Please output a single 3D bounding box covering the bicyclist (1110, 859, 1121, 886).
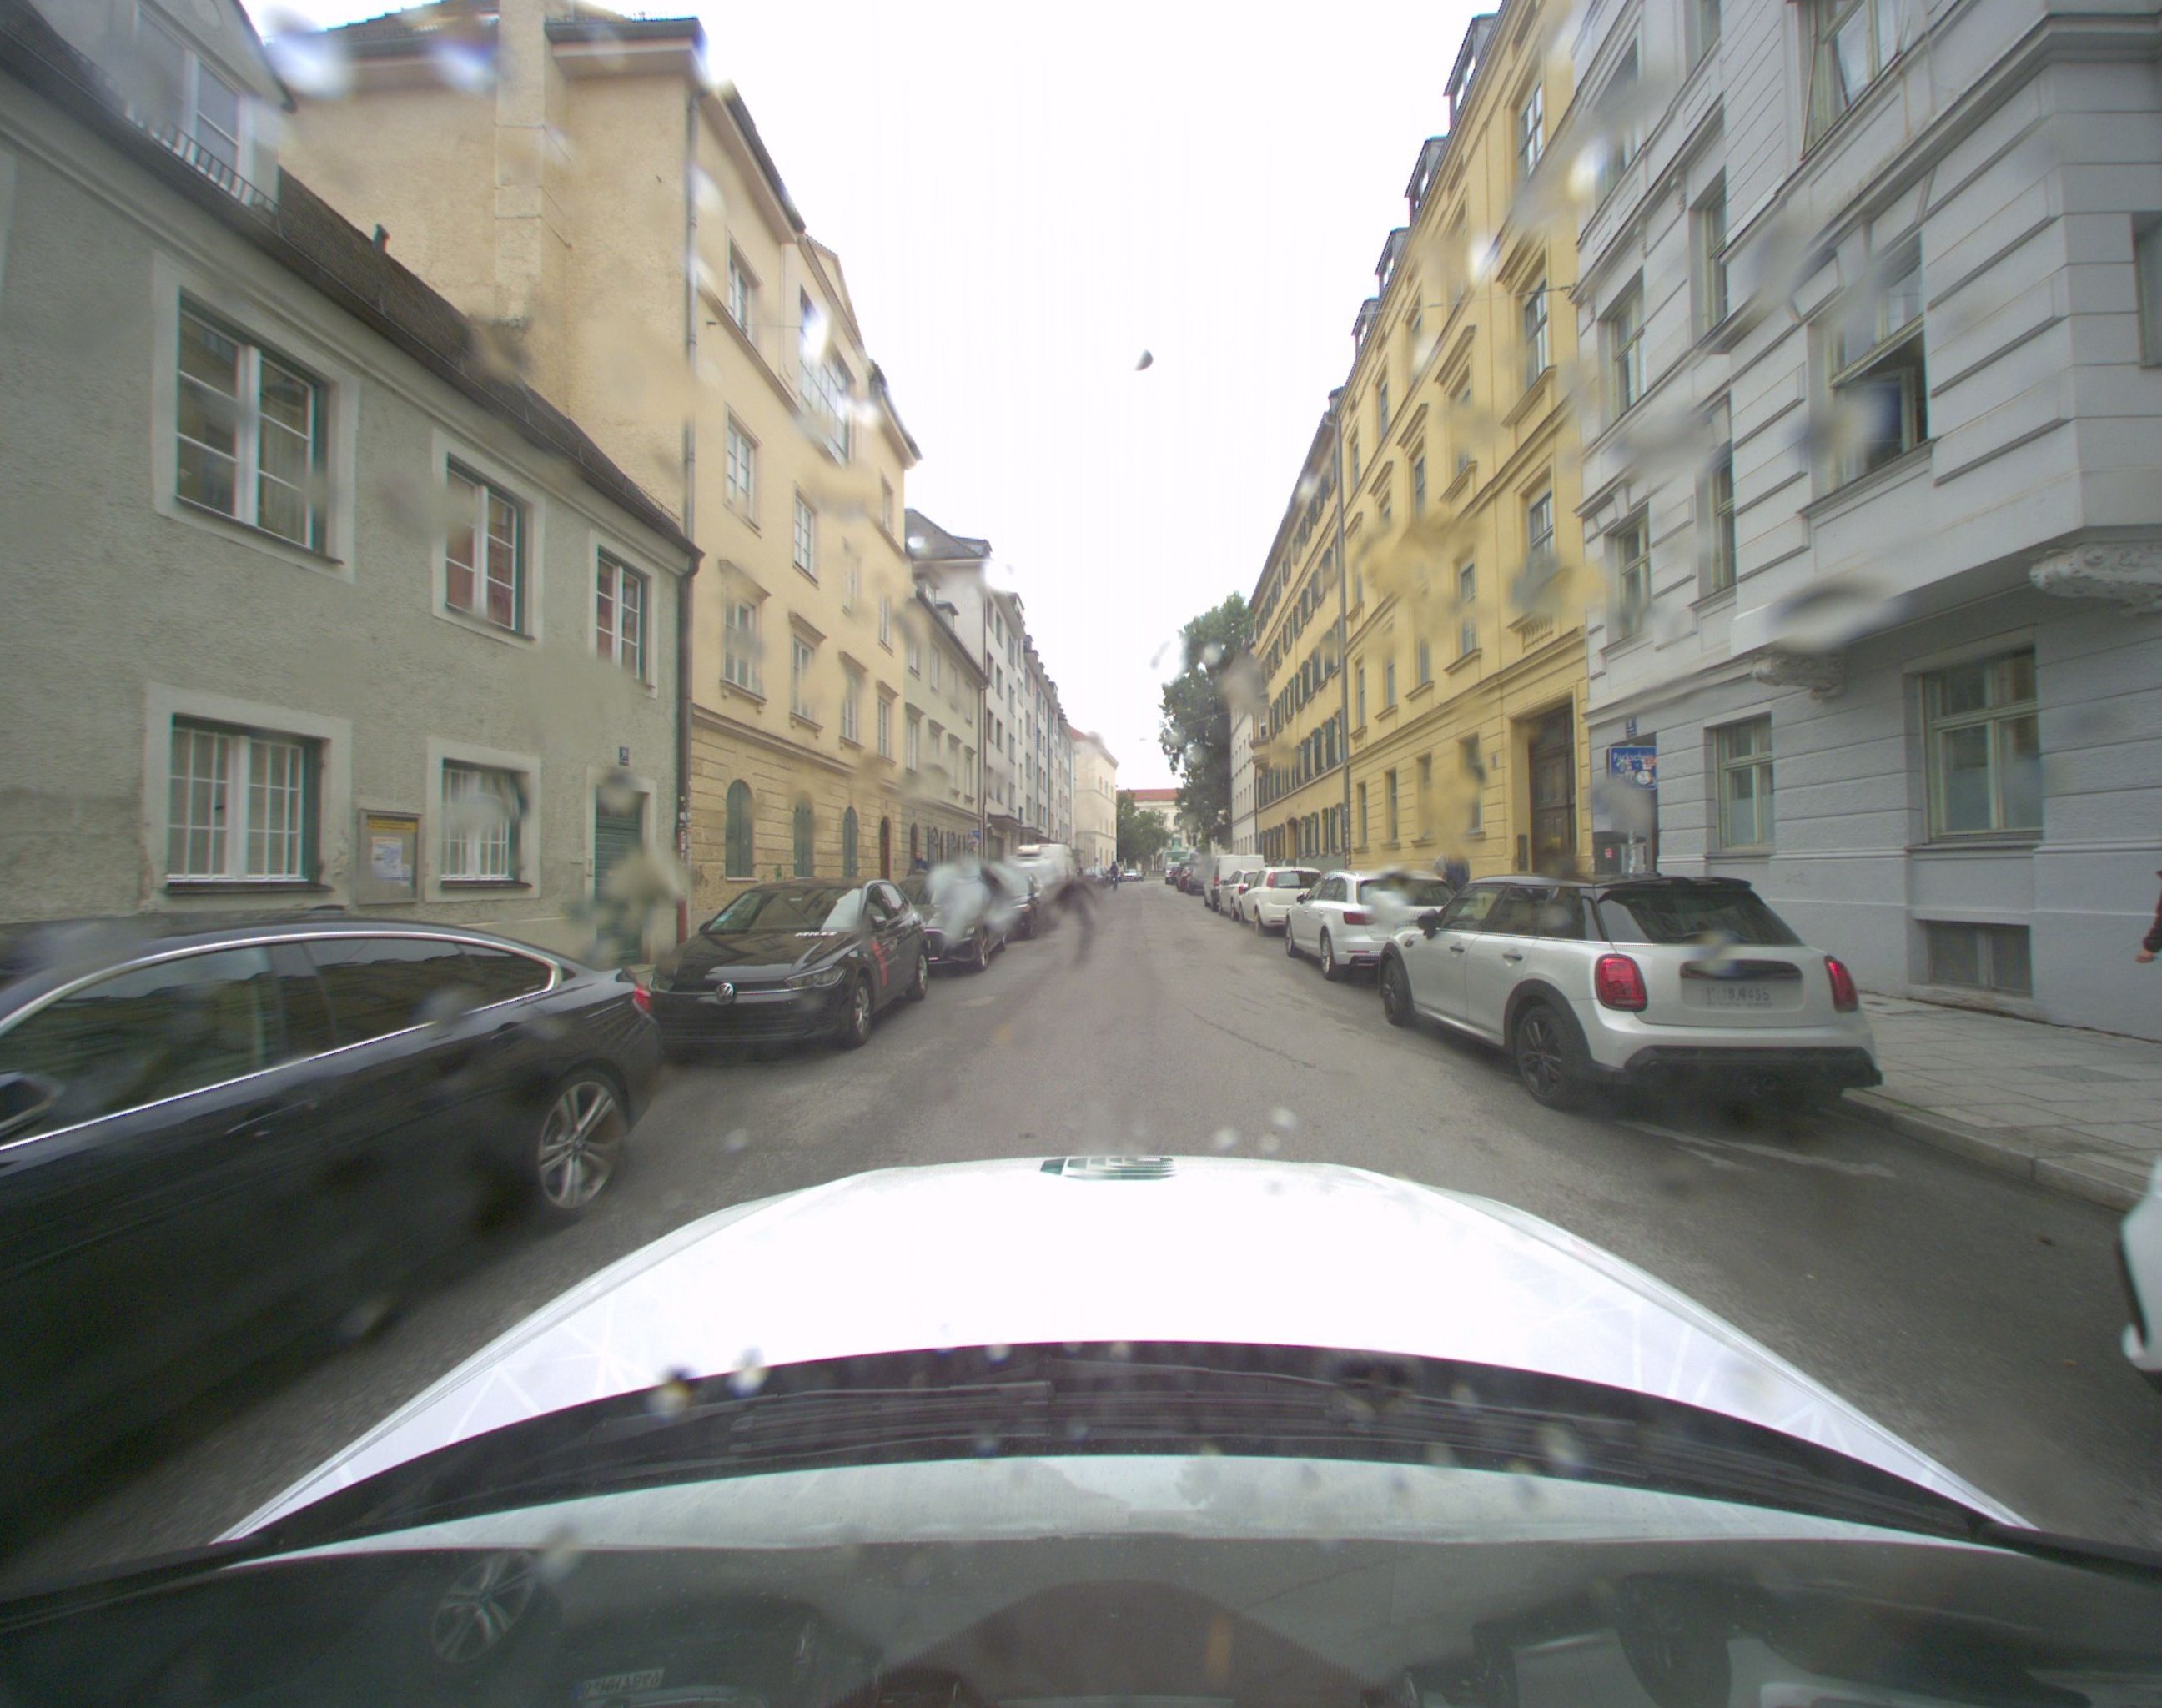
[{"bbox_3d":[2.095,1.140,49.574,0.683,1.627,0.853,0,-1,3],"label":"bicyclist"}]

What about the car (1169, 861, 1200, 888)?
[{"bbox_3d":[7.019,1.398,55.481,1.838,1.776,4.206,1,-1,5],"label":"car"}]

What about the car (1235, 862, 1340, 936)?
[{"bbox_3d":[4.585,0.949,18.588,1.616,1.510,3.764,-1,-1,3],"label":"car"}]

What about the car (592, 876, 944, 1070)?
[{"bbox_3d":[-2.708,0.950,8.254,1.851,1.401,4.269,0,-1,1],"label":"car"}]

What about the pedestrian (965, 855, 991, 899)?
[{"bbox_3d":[-4.036,0.891,31.954,0.801,1.712,1.023,-1,-1,5],"label":"pedestrian"}]

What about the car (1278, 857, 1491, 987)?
[{"bbox_3d":[4.130,0.841,11.872,1.709,1.510,4.473,-1,-1,4],"label":"car"}]

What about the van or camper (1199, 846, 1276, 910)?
[{"bbox_3d":[5.400,0.807,28.743,1.985,2.014,5.237,-1,-1,3],"label":"van or camper"}]

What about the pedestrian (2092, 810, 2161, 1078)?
[{"bbox_3d":[6.721,0.510,4.879,0.638,1.575,0.629,-4,-2,40],"label":"pedestrian"}]

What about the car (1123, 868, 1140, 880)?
[{"bbox_3d":[6.539,2.611,104.888,1.768,1.535,4.221,-2,-2,8],"label":"car"}]

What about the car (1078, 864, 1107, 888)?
[{"bbox_3d":[0.819,1.528,57.193,1.766,1.539,4.163,-2,-1,4],"label":"car"}]

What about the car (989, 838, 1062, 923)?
[{"bbox_3d":[-1.478,0.720,23.309,1.852,2.201,4.558,0,-1,-1],"label":"car"}]

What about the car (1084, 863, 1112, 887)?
[{"bbox_3d":[1.332,1.585,62.756,1.864,1.688,4.524,-2,-1,4],"label":"car"}]

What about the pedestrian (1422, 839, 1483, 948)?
[{"bbox_3d":[6.515,0.676,14.313,0.698,1.862,0.805,0,-1,2],"label":"pedestrian"}]

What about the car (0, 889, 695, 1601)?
[{"bbox_3d":[-3.132,0.858,2.256,1.849,1.401,4.273,0,-1,4],"label":"car"}]

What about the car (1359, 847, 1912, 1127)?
[{"bbox_3d":[3.722,0.761,6.450,1.711,1.510,3.936,-1,-1,0],"label":"car"}]

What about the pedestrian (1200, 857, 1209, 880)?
[{"bbox_3d":[12.062,1.406,79.433,0.790,2.198,0.814,0,-1,4],"label":"pedestrian"}]

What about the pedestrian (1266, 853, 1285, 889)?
[{"bbox_3d":[9.124,0.779,38.233,0.594,1.639,0.897,-4,-1,2],"label":"pedestrian"}]

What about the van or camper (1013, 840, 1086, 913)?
[{"bbox_3d":[-0.995,0.754,28.865,1.984,2.311,5.484,0,-1,4],"label":"van or camper"}]

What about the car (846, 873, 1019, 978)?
[{"bbox_3d":[-2.194,1.028,13.288,1.850,1.401,4.272,0,-1,2],"label":"car"}]

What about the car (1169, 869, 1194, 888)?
[{"bbox_3d":[8.506,2.050,69.444,1.800,1.600,4.217,0,-1,3],"label":"car"}]

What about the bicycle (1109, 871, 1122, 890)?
[{"bbox_3d":[2.104,1.594,49.404,0.729,1.151,2.001,0,-1,3],"label":"bicycle"}]

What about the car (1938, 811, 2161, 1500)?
[{"bbox_3d":[3.274,0.664,0.187,1.710,1.601,4.326,-1,-1,3],"label":"car"}]

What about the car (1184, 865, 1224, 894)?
[{"bbox_3d":[6.466,1.329,43.160,1.738,1.464,4.004,-1,-1,4],"label":"car"}]

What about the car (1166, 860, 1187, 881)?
[{"bbox_3d":[8.824,1.512,75.380,1.872,1.924,4.883,-1,-1,6],"label":"car"}]

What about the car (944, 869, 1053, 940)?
[{"bbox_3d":[-1.725,1.046,18.449,1.850,1.401,4.272,0,-1,2],"label":"car"}]

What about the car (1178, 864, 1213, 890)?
[{"bbox_3d":[6.782,1.363,48.681,1.706,1.424,4.460,-1,-1,3],"label":"car"}]

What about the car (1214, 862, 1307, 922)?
[{"bbox_3d":[4.995,1.020,23.293,1.809,1.510,4.589,-1,-1,2],"label":"car"}]

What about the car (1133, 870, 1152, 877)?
[{"bbox_3d":[13.081,4.114,173.674,3.964,1.376,2.004,-1,-1,8],"label":"car"}]

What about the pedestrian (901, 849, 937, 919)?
[{"bbox_3d":[-4.731,0.878,23.812,0.801,2.014,0.751,-1,-1,5],"label":"pedestrian"}]
